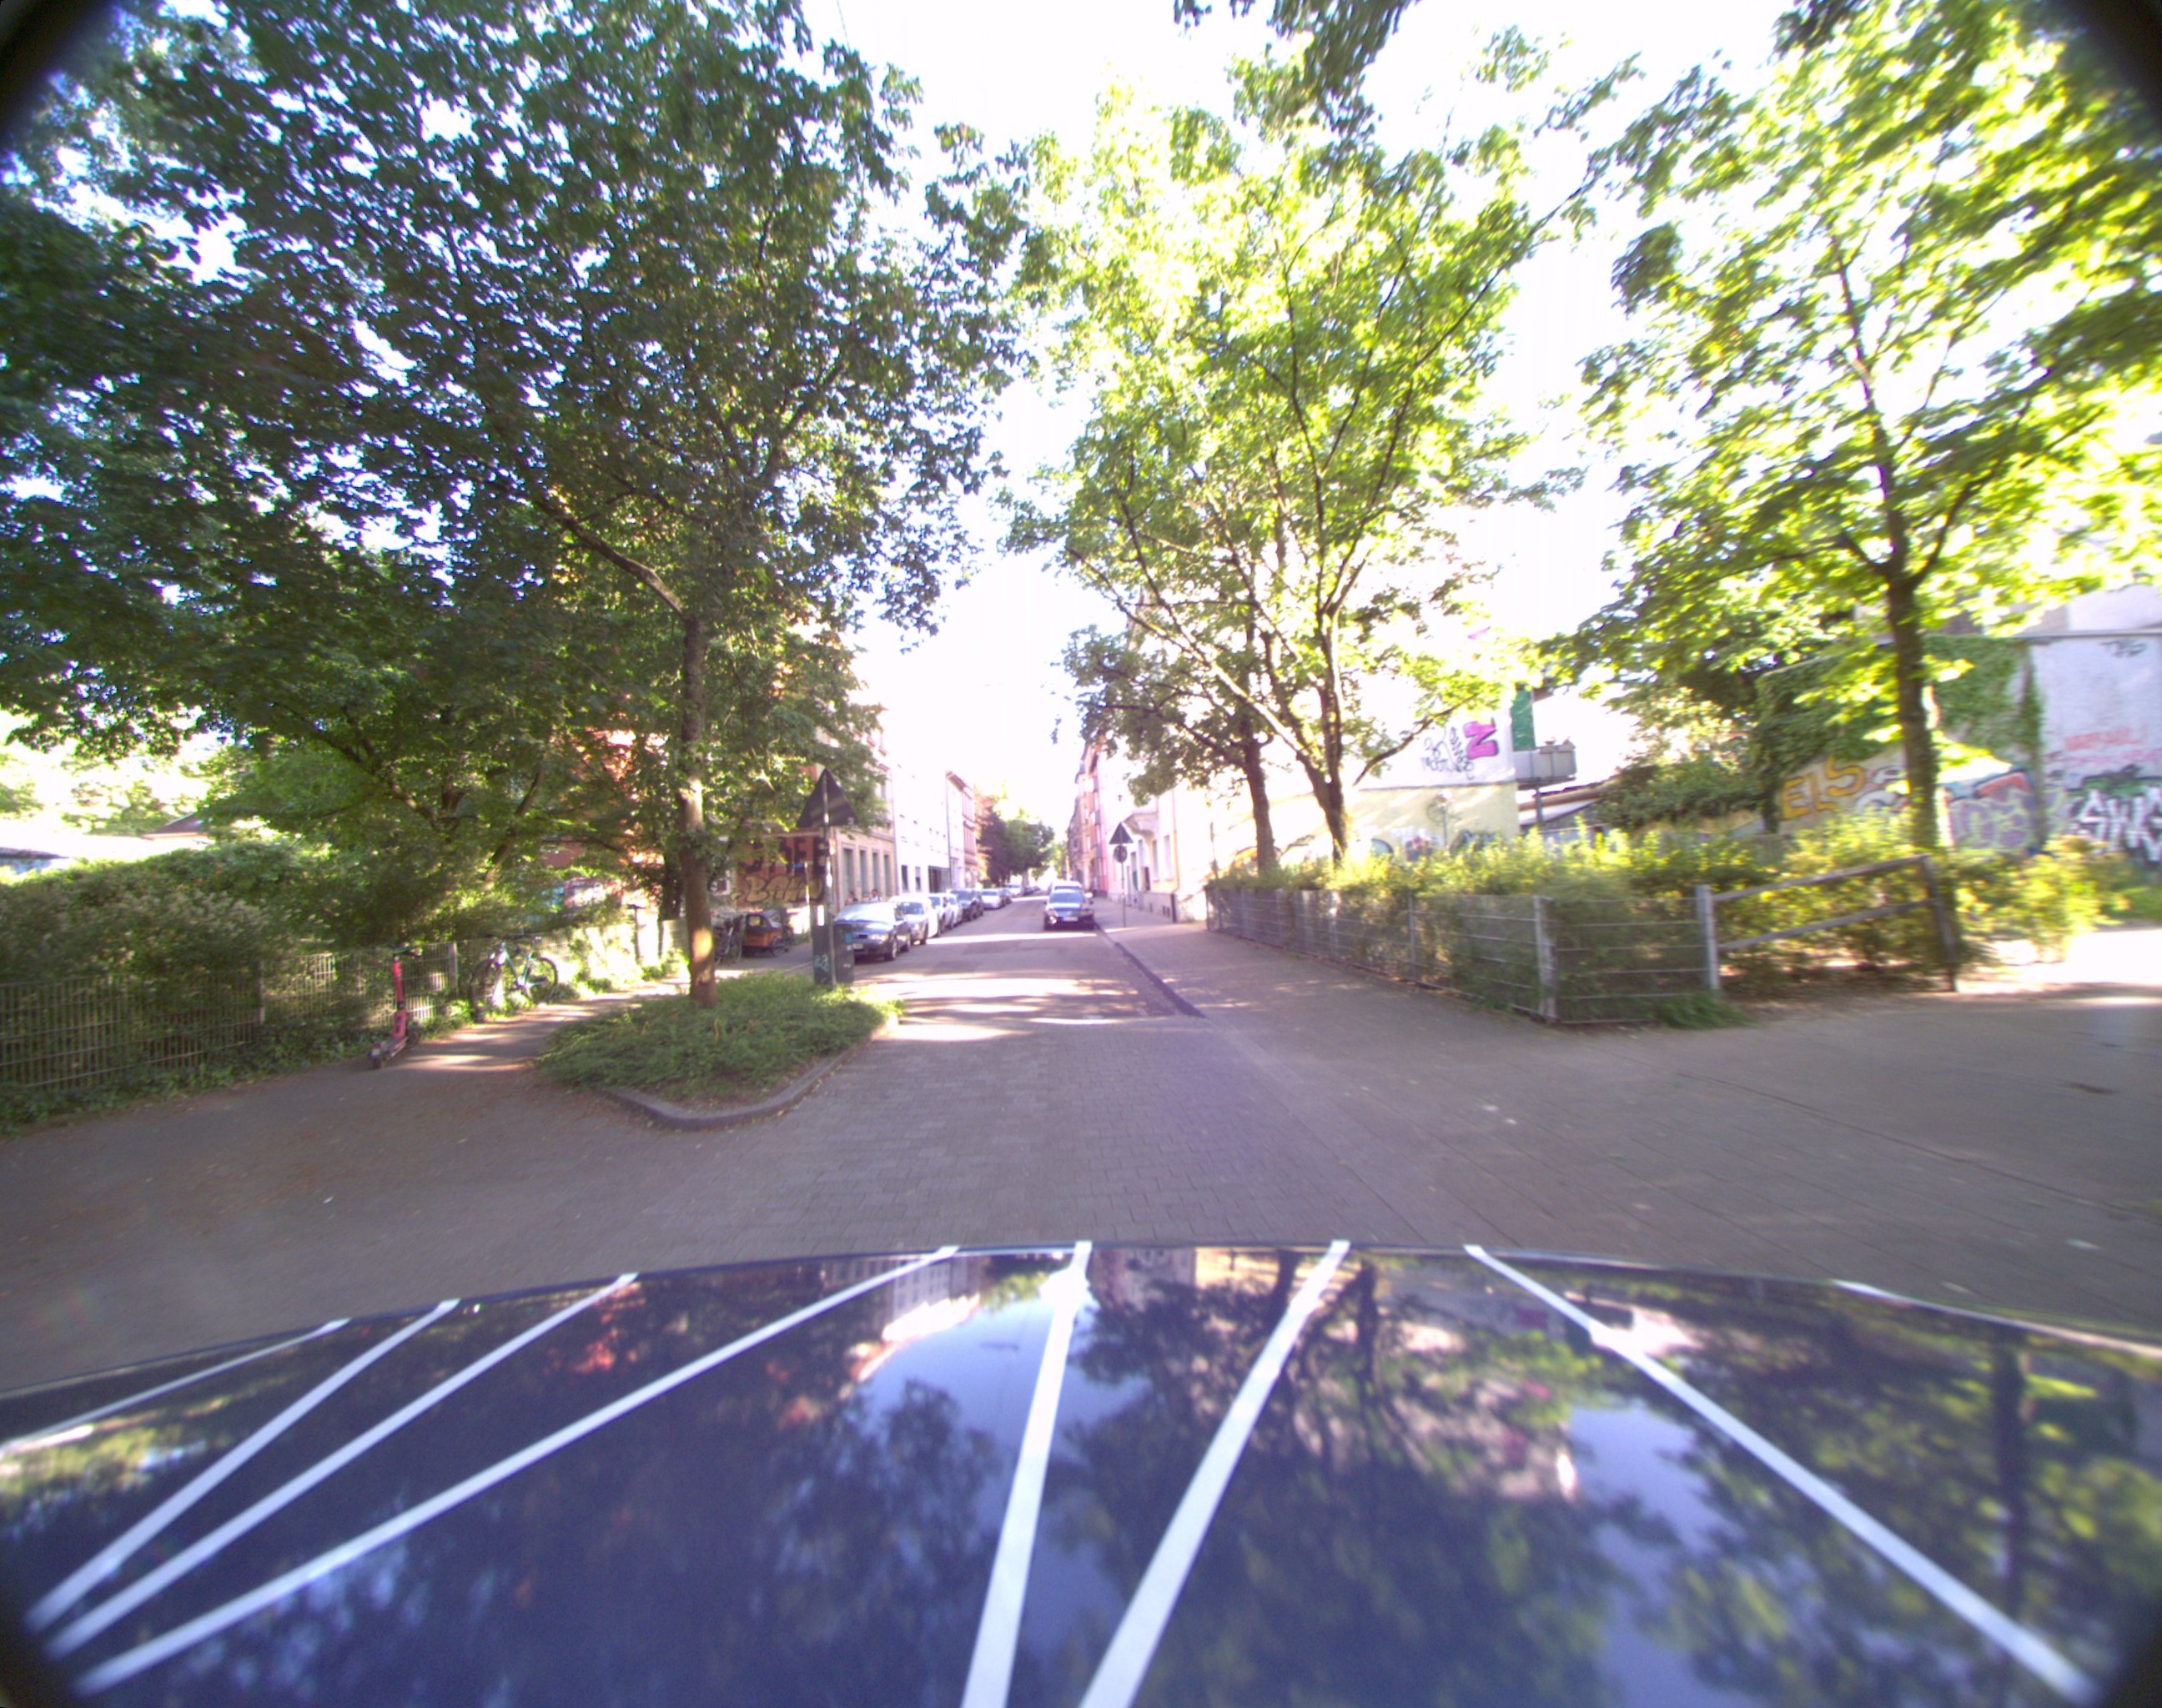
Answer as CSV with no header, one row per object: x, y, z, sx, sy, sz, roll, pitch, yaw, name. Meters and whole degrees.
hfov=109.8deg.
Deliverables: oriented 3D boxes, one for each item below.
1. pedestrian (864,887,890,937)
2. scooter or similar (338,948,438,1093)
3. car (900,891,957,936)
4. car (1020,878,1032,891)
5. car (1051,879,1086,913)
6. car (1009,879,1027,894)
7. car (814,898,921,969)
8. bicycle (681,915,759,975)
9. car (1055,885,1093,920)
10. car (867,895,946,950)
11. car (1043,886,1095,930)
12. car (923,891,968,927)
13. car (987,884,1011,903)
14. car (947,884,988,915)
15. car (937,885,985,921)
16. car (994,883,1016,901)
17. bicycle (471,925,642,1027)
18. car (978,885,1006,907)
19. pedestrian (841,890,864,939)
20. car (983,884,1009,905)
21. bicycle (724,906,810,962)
-7.221,2.039,26.879,0.712,1.698,0.752,0,-1,-2,pedestrian
-7.317,1.694,8.076,0.547,1.254,1.470,-1,-2,-33,scooter or similar
-5.963,2.285,30.042,1.598,1.575,3.764,-1,-2,-2,car
-8.980,4.930,123.626,1.769,2.005,4.264,0,-1,-2,car
-0.757,2.264,41.720,1.754,1.730,4.314,0,-1,-3,car
-8.139,4.182,98.391,1.866,1.969,4.482,0,-1,1,car
-5.434,1.982,19.884,1.726,1.484,4.414,-1,-2,-3,car
-8.314,2.071,17.610,0.849,1.193,1.982,-2,-2,0,bicycle
-0.294,2.123,34.057,1.597,1.442,3.486,0,-1,0,car
-5.558,2.149,24.746,1.663,1.484,4.354,-1,-2,-2,car
-0.488,1.958,28.274,1.784,1.434,4.392,0,-2,-2,car
-6.081,2.450,34.428,1.598,1.442,4.003,-1,-2,-4,car
-7.048,3.380,65.951,1.769,1.524,4.103,-1,-1,-2,car
-6.572,2.625,44.338,1.886,1.656,4.328,0,-1,-2,car
-6.107,2.496,39.188,1.770,1.656,4.329,-2,-2,0,car
-7.090,3.539,71.102,1.769,1.524,4.103,0,-2,-2,car
-8.219,1.850,12.117,0.849,1.260,2.693,-2,-2,0,bicycle
-6.645,3.110,56.943,1.769,1.508,4.103,0,-2,-2,car
-8.048,2.114,26.789,0.599,1.698,0.706,0,-1,-2,pedestrian
-6.825,3.270,61.492,1.769,1.524,4.103,-1,-1,-2,car
-8.311,2.083,20.257,1.294,1.294,2.327,-1,-2,1,bicycle
